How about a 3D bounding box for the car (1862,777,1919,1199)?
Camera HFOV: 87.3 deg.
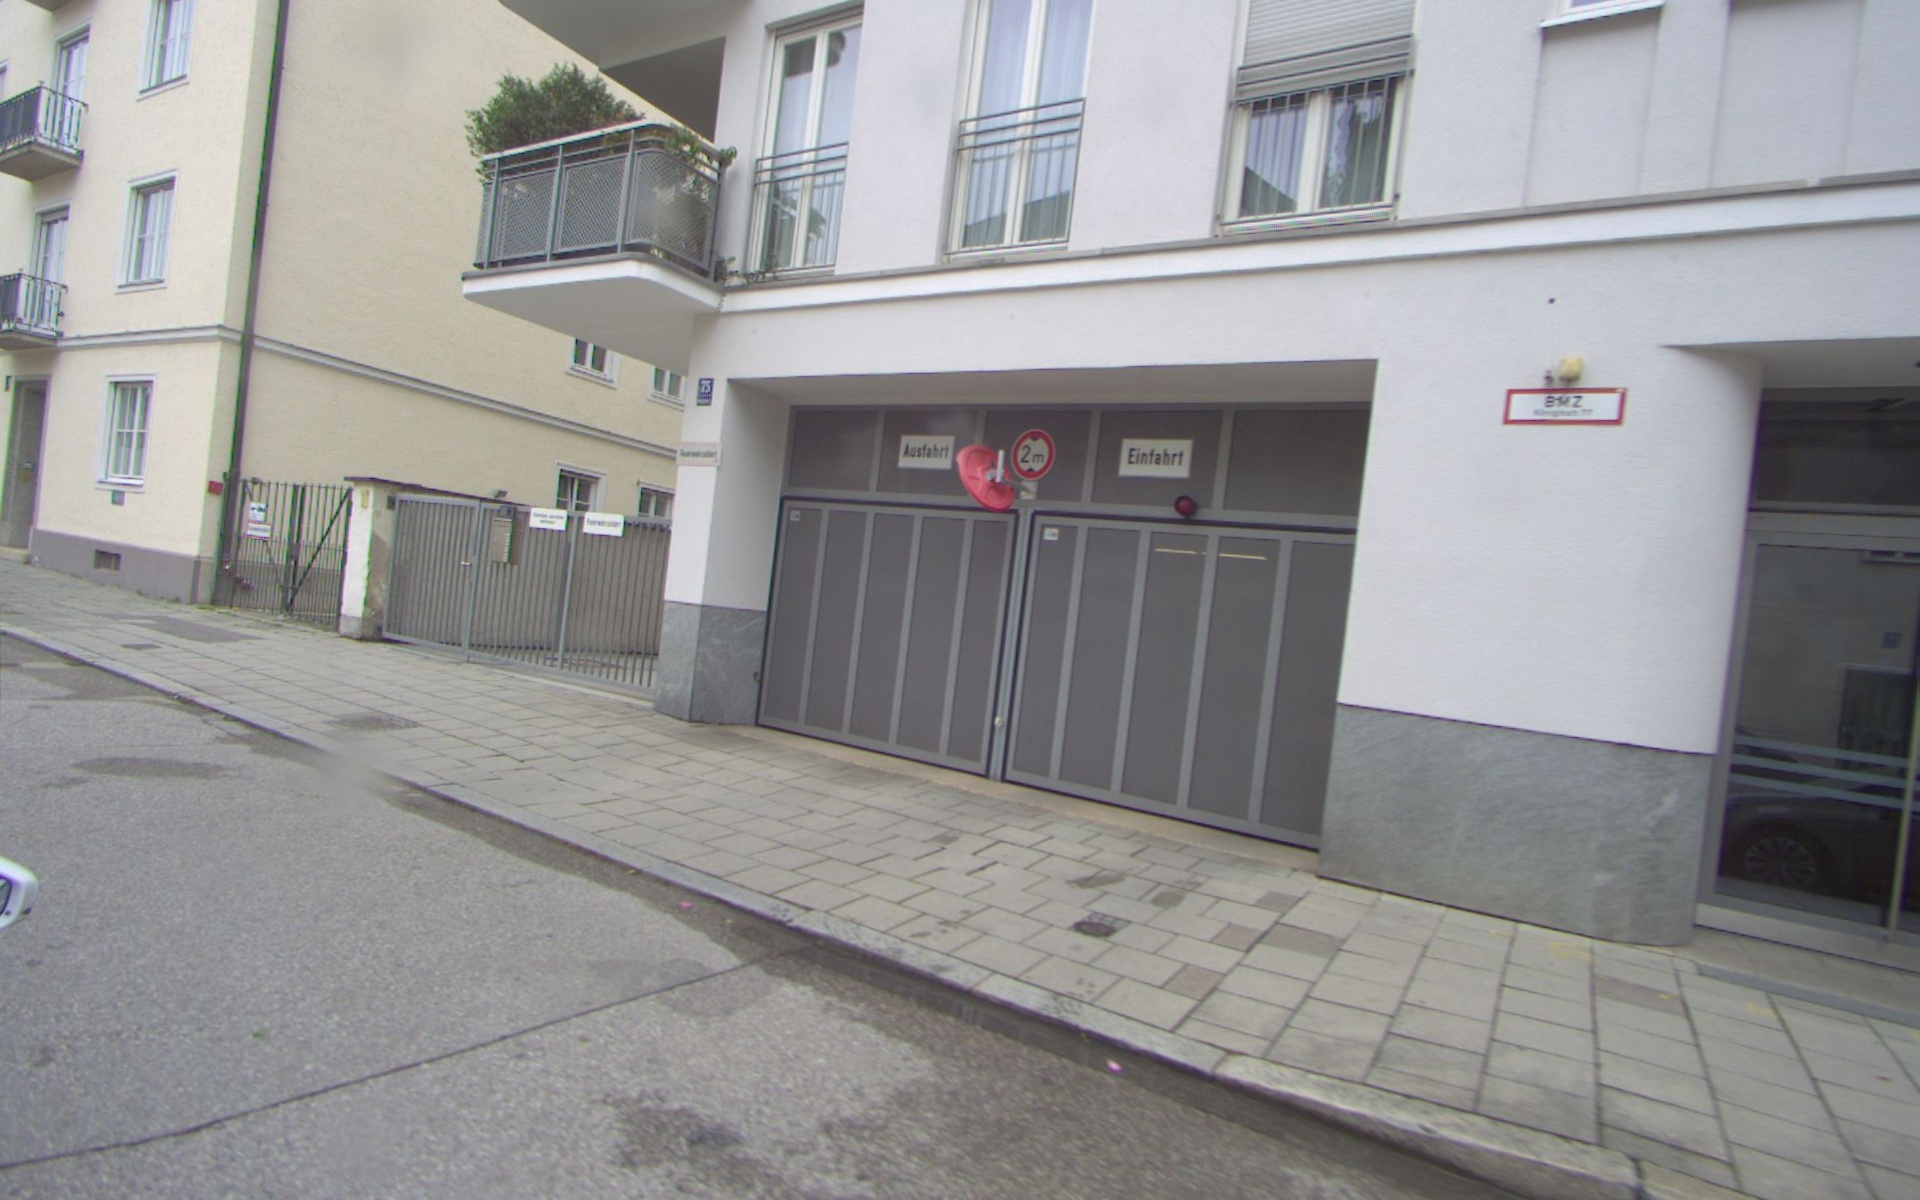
[{"bbox_3d":[3.595,1.157,0.617,4.145,1.494,1.775,7,0,29],"label":"car"}]
